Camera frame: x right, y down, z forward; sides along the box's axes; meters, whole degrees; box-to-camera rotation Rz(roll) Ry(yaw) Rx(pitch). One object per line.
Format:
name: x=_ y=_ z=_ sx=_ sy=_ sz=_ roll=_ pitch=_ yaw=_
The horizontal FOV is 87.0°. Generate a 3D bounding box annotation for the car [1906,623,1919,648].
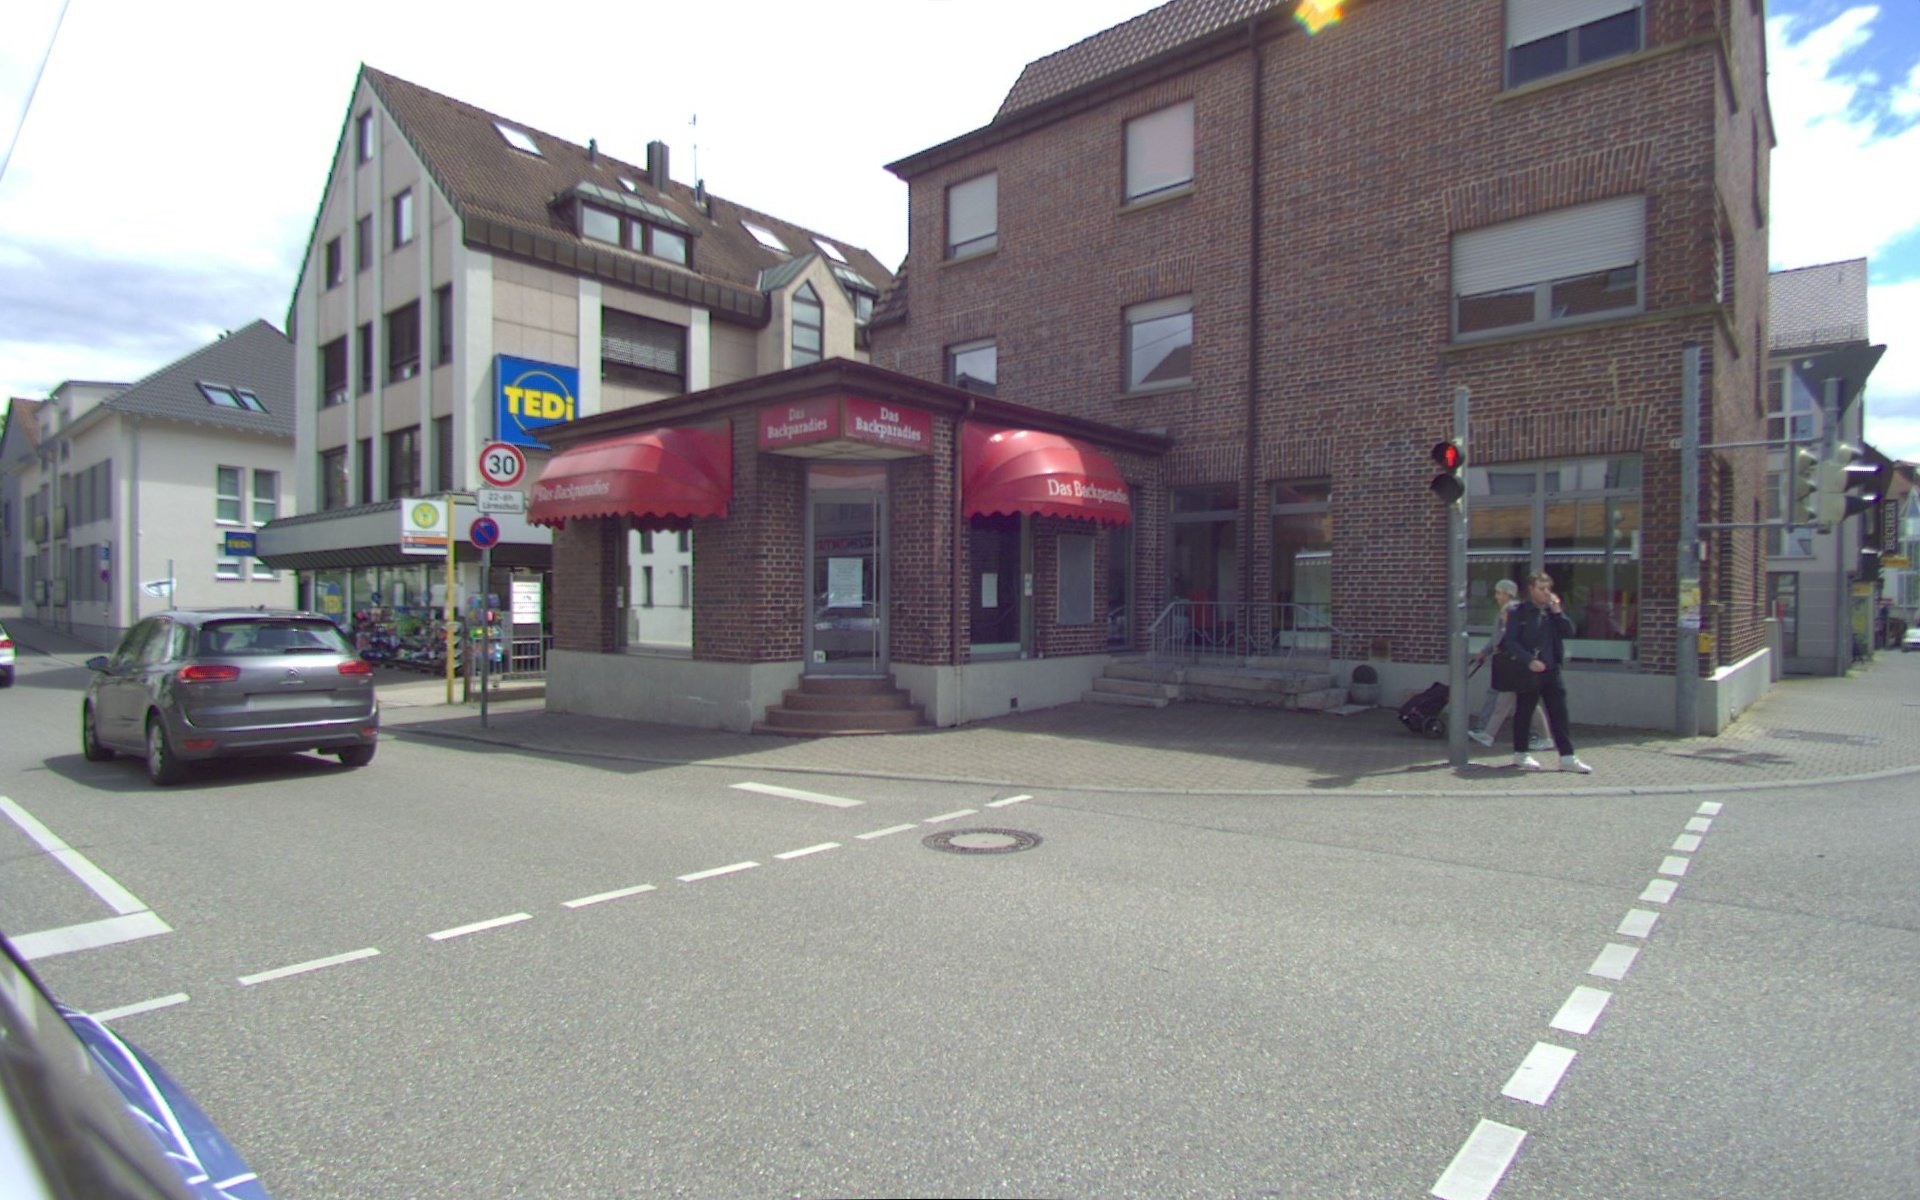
car: x=61.922 y=2.259 z=64.691 sx=1.920 sy=1.586 sz=4.270 roll=-1 pitch=-2 yaw=41

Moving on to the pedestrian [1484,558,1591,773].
pedestrian: x=5.121 y=0.543 z=8.970 sx=0.720 sy=1.810 sz=0.619 roll=1 pitch=1 yaw=39

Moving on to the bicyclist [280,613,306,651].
bicyclist: x=-22.464 y=1.081 z=34.079 sx=0.631 sy=1.251 sz=0.428 roll=0 pitch=1 yaw=-16

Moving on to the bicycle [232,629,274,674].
bicycle: x=-18.375 y=1.322 z=26.294 sx=1.733 sy=1.058 sz=0.439 roll=1 pitch=4 yaw=41

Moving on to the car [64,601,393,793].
car: x=-7.656 y=0.867 z=10.459 sx=4.096 sy=1.602 sz=1.771 roll=-2 pitch=-2 yaw=39

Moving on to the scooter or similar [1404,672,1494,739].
scooter or similar: x=5.183 y=1.109 z=10.752 sx=0.803 sy=0.651 sz=0.377 roll=1 pitch=-2 yaw=19

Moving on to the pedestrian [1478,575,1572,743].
pedestrian: x=5.871 y=0.582 z=10.515 sx=0.760 sy=1.671 sz=0.519 roll=1 pitch=1 yaw=39

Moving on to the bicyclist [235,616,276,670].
bicyclist: x=-18.435 y=1.113 z=26.470 sx=0.761 sy=1.347 sz=0.660 roll=1 pitch=4 yaw=41

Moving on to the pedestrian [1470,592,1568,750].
pedestrian: x=5.552 y=0.671 z=10.060 sx=0.760 sy=1.496 sz=0.519 roll=1 pitch=1 yaw=39

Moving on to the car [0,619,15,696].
car: x=-22.871 y=1.238 z=22.652 sx=4.213 sy=1.652 sz=1.764 roll=-1 pitch=-2 yaw=37
